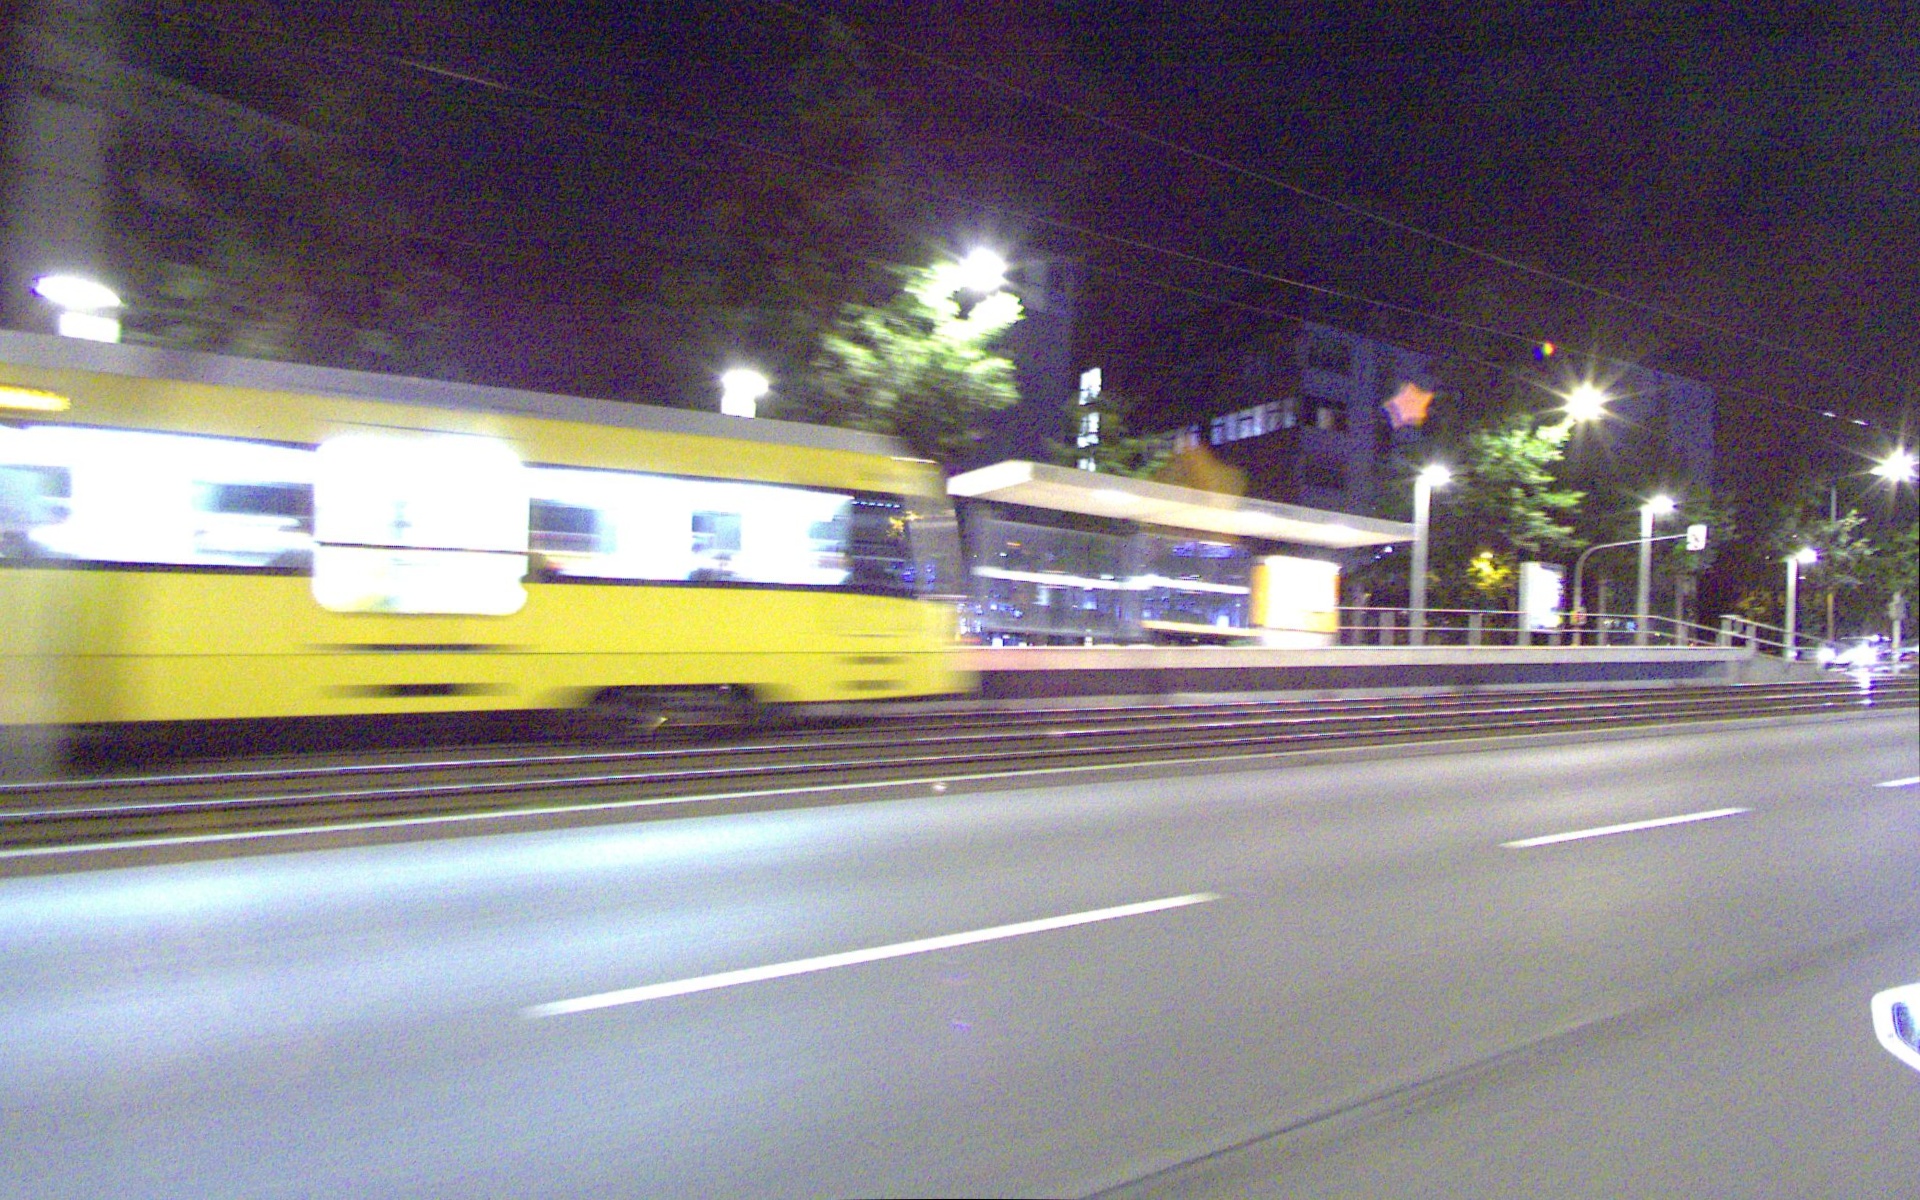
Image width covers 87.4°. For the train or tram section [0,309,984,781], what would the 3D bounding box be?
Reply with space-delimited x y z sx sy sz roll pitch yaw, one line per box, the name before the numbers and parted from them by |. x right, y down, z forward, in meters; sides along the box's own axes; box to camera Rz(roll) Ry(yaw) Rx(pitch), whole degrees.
train or tram section | -8.364 -0.437 9.548 18.448 3.878 2.746 2 -1 -30

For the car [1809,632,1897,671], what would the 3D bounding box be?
car | 39.001 2.253 43.841 4.128 1.516 1.775 3 -2 -32

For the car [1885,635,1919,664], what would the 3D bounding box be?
car | 52.314 2.717 54.764 3.864 1.536 1.653 2 -1 -29
